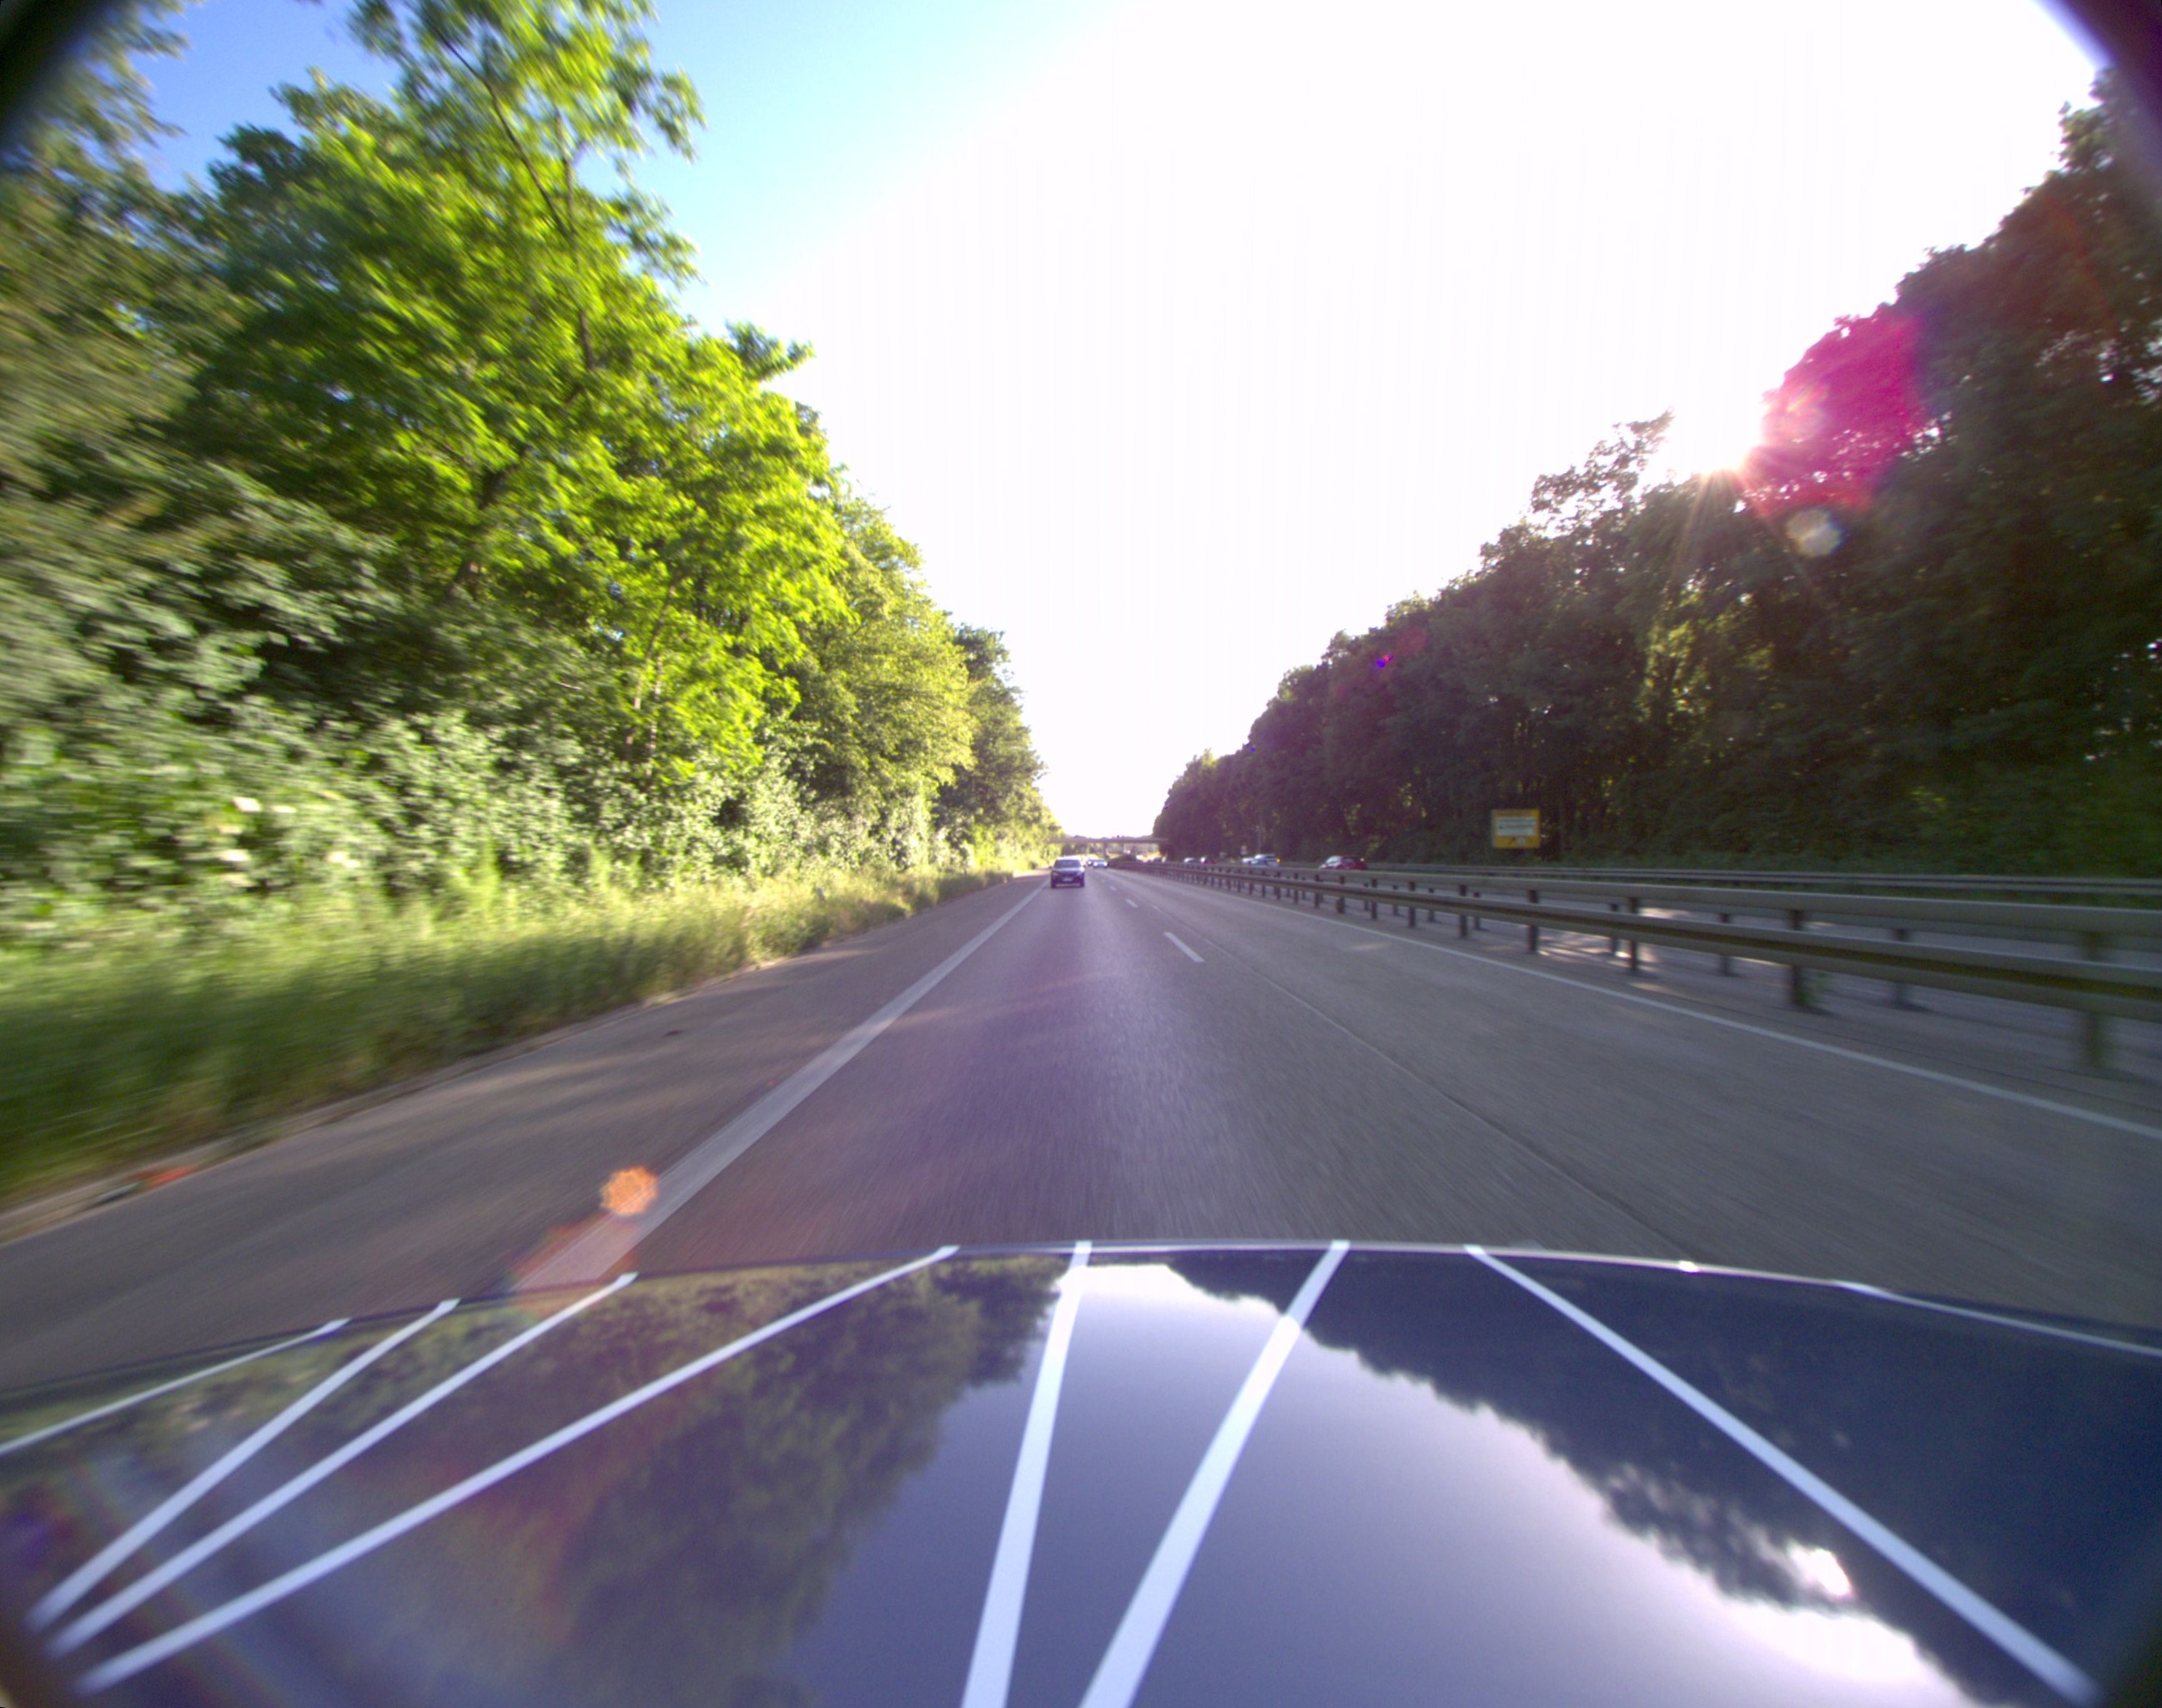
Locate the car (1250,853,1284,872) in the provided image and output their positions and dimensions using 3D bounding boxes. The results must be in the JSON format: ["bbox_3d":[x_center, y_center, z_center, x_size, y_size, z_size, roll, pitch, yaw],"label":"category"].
[{"bbox_3d":[16.490,0.702,67.631,1.998,1.614,4.790,1,0,2],"label":"car"}]

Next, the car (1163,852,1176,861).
[{"bbox_3d":[17.610,0.506,151.967,1.999,1.591,4.706,1,0,-1],"label":"car"}]

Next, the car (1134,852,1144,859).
[{"bbox_3d":[13.969,0.318,183.118,1.999,1.531,4.118,1,0,-1],"label":"car"}]

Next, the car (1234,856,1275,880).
[{"bbox_3d":[11.461,0.865,50.394,1.729,1.365,4.094,1,2,-1],"label":"car"}]

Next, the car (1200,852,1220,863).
[{"bbox_3d":[17.728,0.455,104.834,1.999,1.477,3.999,1,0,-1],"label":"car"}]

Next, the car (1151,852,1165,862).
[{"bbox_3d":[14.144,0.499,140.549,1.999,1.689,4.907,1,0,-1],"label":"car"}]

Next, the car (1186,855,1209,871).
[{"bbox_3d":[11.280,0.843,73.931,1.728,1.459,4.097,1,0,2],"label":"car"}]

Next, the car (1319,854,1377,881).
[{"bbox_3d":[15.269,0.733,43.707,1.998,1.455,4.000,1,0,1],"label":"car"}]

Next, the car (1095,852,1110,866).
[{"bbox_3d":[2.890,0.699,104.088,1.998,1.793,4.000,1,0,0],"label":"car"}]

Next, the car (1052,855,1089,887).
[{"bbox_3d":[-0.515,0.862,40.242,1.712,1.565,3.423,-2,0,3],"label":"car"}]
